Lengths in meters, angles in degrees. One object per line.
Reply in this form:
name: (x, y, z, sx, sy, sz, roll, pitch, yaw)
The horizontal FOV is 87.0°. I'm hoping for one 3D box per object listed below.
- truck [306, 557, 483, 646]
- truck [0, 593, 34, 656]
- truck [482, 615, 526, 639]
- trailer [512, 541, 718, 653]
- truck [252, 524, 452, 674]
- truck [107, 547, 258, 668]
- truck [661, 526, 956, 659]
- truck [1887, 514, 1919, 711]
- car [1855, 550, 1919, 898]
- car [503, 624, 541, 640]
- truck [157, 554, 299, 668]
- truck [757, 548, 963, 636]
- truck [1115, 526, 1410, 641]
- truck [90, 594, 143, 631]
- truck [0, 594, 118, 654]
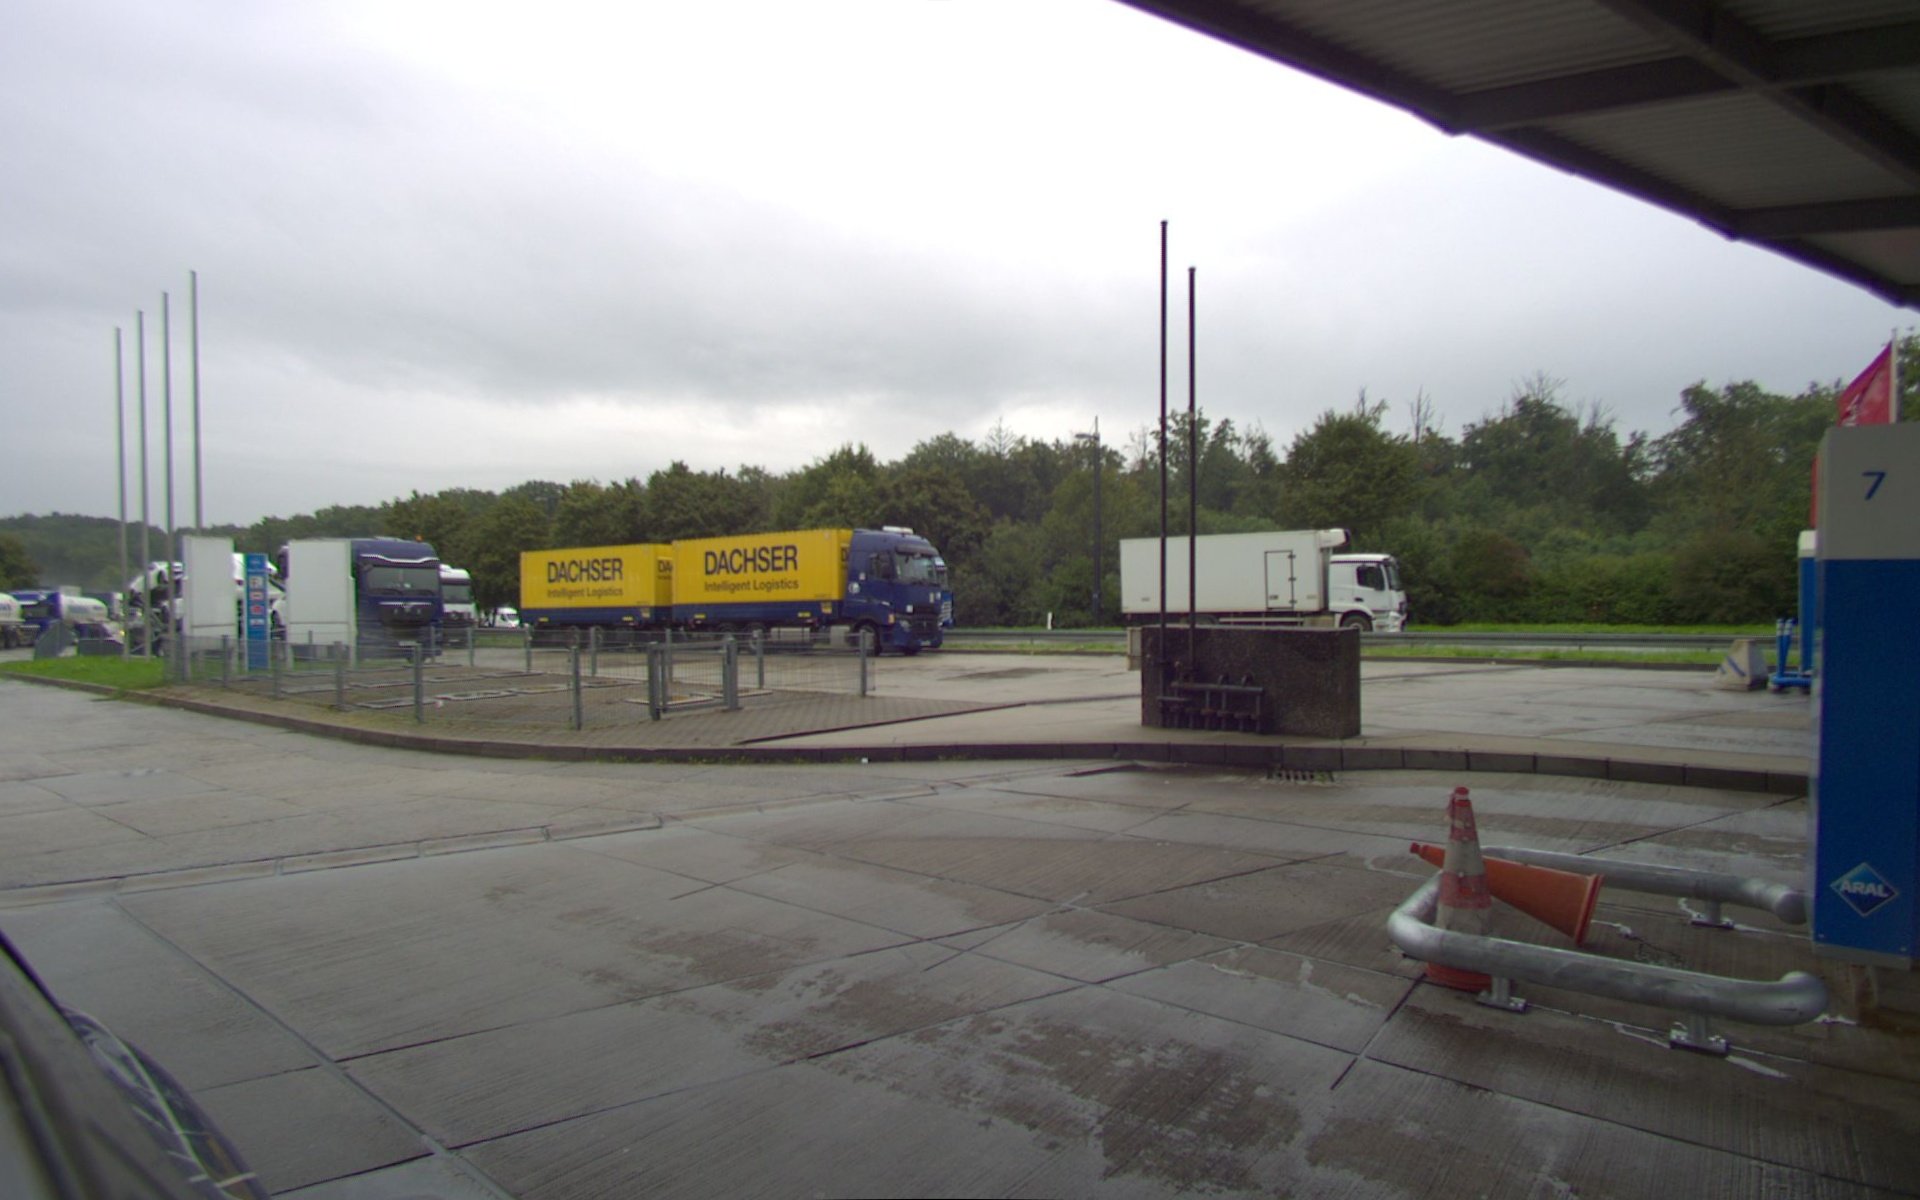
truck: (-27.319, 0.109, 48.623, 10.654, 3.946, 2.727, -1, 0, 33)
truck: (-55.157, 1.343, 53.682, 3.454, 3.633, 14.444, -1, -1, -19)
truck: (-46.097, 2.696, 102.226, 4.620, 2.282, 1.712, -1, 0, 30)
trailer: (-13.500, -0.069, 39.253, 8.679, 3.946, 2.728, -1, 0, 32)
truck: (-19.009, 0.015, 31.472, 7.089, 4.213, 2.635, -1, 0, 35)
truck: (-29.589, 0.303, 38.441, 6.605, 4.213, 2.635, -1, 0, 35)
truck: (-5.337, -0.173, 34.024, 10.654, 3.946, 2.727, -1, 0, 33)
truck: (14.993, 0.129, 11.950, 5.859, 2.513, 2.208, -1, 0, 41)
car: (6.911, 0.546, 3.795, 5.269, 1.620, 1.842, -1, 0, 41)
car: (-48.795, 3.575, 112.726, 3.980, 1.706, 1.688, -1, 0, 28)
truck: (-26.107, 0.400, 36.068, 4.738, 3.800, 2.635, -1, 0, 34)
truck: (-4.880, -0.309, 47.639, 10.195, 3.836, 2.395, -1, 0, 31)
truck: (10.969, -0.512, 37.444, 10.195, 3.836, 2.395, -1, 0, 31)
truck: (-122.241, 1.814, 146.555, 11.498, 5.160, 3.109, -1, 0, 36)
truck: (-61.496, 1.627, 68.649, 3.454, 3.633, 14.709, -1, -1, -27)
